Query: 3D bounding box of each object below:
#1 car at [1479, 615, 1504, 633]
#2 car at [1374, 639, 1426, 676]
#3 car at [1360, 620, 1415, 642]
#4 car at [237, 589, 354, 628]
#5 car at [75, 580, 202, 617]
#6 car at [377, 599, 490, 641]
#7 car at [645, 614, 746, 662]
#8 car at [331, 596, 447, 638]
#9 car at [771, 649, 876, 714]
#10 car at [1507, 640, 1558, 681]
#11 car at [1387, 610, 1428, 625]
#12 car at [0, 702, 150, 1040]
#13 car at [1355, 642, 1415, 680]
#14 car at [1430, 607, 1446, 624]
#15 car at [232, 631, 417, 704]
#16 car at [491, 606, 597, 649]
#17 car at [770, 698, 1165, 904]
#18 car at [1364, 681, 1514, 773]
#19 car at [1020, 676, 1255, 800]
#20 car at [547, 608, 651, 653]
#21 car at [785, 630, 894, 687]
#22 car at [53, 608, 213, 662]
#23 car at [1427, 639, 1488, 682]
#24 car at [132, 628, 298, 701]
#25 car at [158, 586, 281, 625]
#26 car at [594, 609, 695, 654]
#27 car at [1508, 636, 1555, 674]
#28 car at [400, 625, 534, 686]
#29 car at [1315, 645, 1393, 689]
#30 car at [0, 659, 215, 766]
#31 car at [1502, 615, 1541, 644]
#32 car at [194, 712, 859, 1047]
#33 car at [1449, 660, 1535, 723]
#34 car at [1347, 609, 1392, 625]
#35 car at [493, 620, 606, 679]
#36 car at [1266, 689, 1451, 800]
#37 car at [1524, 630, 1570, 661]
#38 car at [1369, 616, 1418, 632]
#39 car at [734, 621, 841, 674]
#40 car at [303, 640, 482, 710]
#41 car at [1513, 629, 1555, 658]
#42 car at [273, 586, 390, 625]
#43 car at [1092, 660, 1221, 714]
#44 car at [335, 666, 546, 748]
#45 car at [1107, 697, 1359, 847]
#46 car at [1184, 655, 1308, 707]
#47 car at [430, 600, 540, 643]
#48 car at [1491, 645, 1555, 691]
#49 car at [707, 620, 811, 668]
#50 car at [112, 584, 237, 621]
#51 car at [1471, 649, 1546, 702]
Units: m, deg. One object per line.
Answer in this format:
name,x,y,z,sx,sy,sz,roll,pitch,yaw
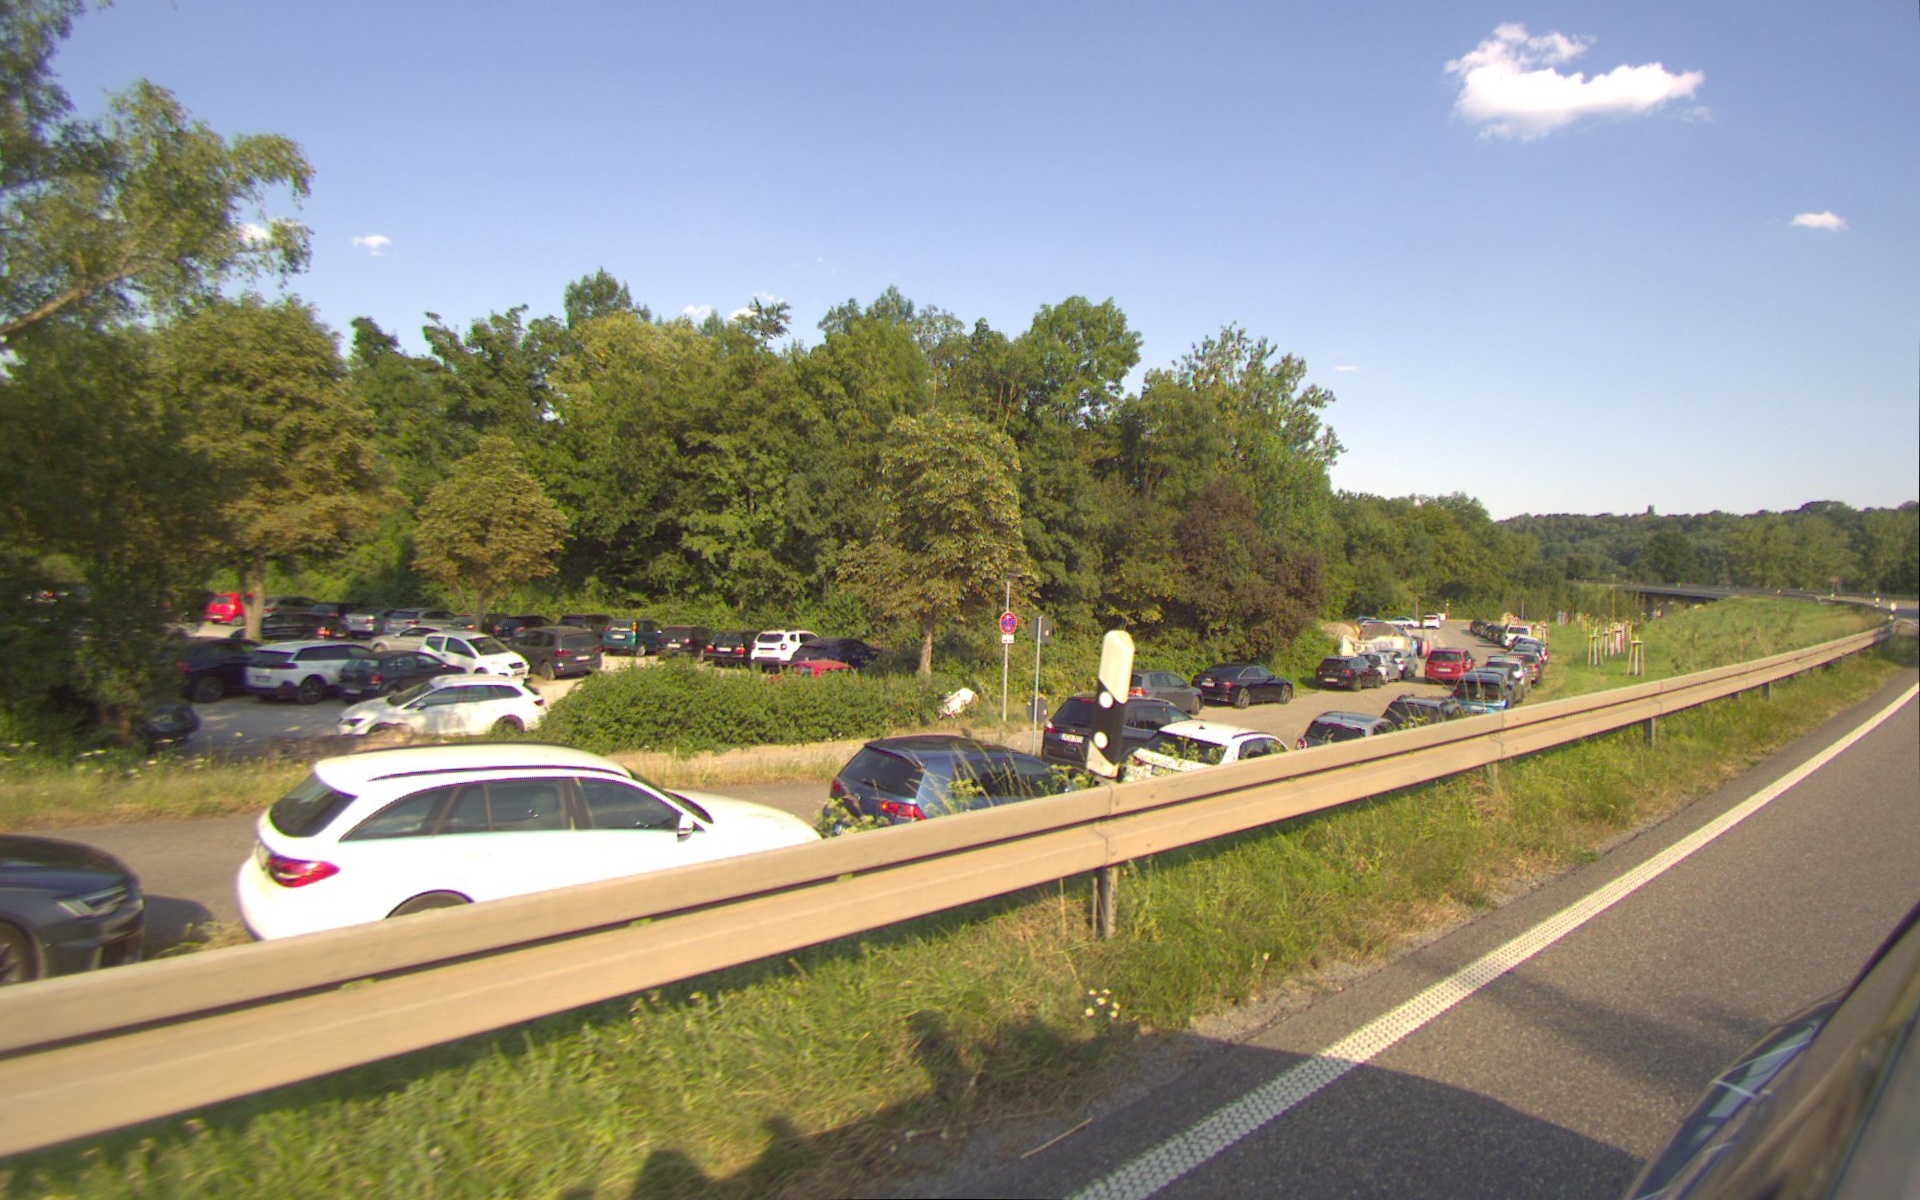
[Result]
car,56.630,2.505,107.879,1.802,1.679,4.228,3,1,20
car,22.425,2.889,51.508,1.696,1.528,3.896,2,2,34
car,35.423,2.545,83.907,4.201,1.624,1.818,0,1,25
car,-31.680,0.362,48.392,1.781,1.712,4.568,1,1,19
car,-39.789,-0.103,49.140,1.781,1.712,4.568,1,1,19
car,-23.527,0.843,45.422,1.781,1.712,4.568,1,1,19
car,-10.841,1.523,41.806,1.781,1.712,4.568,1,1,19
car,-25.871,0.734,46.034,1.781,1.712,4.568,1,1,19
car,-4.249,2.433,31.019,1.623,1.562,3.777,0,1,-35
car,27.107,2.804,48.048,1.880,1.579,4.736,2,1,27
car,51.378,2.048,116.293,4.203,1.474,1.604,3,1,25
car,-7.195,1.544,5.062,4.704,1.578,1.894,2,3,-45
car,20.245,2.871,48.151,1.697,1.415,3.893,5,4,36
car,56.610,1.829,119.950,1.643,1.687,4.669,2,2,25
car,-18.385,1.882,29.576,1.779,1.712,4.573,1,1,16
car,-18.428,1.176,45.090,1.781,1.712,4.568,1,1,19
car,0.267,2.201,12.266,4.701,1.578,1.895,2,3,-43
car,11.642,2.965,24.441,1.892,1.578,4.708,6,3,42
car,3.452,2.449,19.031,4.703,1.695,1.894,2,3,-45
car,-15.612,1.257,44.052,1.781,1.712,4.568,1,1,19
car,-4.308,2.046,36.875,1.785,1.712,4.557,1,1,25
car,-30.403,1.241,37.394,1.774,1.712,4.585,1,1,9
car,23.945,2.856,48.601,1.886,1.708,5.022,3,1,34
car,-21.343,1.784,29.242,1.767,1.712,4.602,1,1,-6
car,-35.164,0.212,48.198,1.781,1.712,4.568,1,1,19
car,-13.527,1.311,43.672,1.781,1.712,4.568,1,1,19
car,30.138,2.857,53.454,1.881,1.578,4.736,5,2,27
car,-15.964,1.754,32.730,4.104,1.692,1.641,1,1,24
car,17.142,2.856,43.891,1.699,1.415,4.716,5,4,39
car,-18.105,2.231,20.522,4.500,1.865,1.807,0,1,-22
car,45.130,2.334,81.405,2.104,2.042,5.334,5,2,24
car,-3.363,1.960,8.434,4.697,1.578,1.897,3,2,-40
car,18.092,3.023,34.322,1.887,1.578,4.721,5,2,35
car,43.111,1.810,106.560,4.192,1.474,1.607,2,1,19
car,-14.384,1.668,35.380,4.125,1.775,1.794,2,1,36
car,8.266,2.832,20.753,1.892,1.578,4.708,6,3,42
car,36.679,2.814,63.359,1.879,1.578,4.742,5,2,24
car,40.913,2.261,95.608,4.192,1.474,1.608,0,1,19
car,-6.535,1.744,38.827,1.785,1.712,4.557,1,1,25
car,-16.168,2.063,29.133,1.779,1.562,4.573,1,1,16
car,38.752,2.877,68.386,1.879,1.578,4.742,5,2,24
car,-29.516,0.214,47.700,1.781,1.712,4.568,1,1,19
car,6.298,2.734,32.212,4.024,1.415,1.707,3,2,-37
car,-12.134,2.429,23.721,4.210,1.504,1.695,1,1,-35
car,4.532,2.602,16.329,1.892,1.578,4.708,6,3,42
car,10.221,2.820,35.971,4.696,1.415,1.707,1,4,-37
car,-21.263,0.906,45.512,1.781,1.712,4.568,1,1,19
car,24.108,2.858,43.278,1.886,1.579,4.721,2,1,35
car,-8.030,1.711,40.872,1.875,1.578,4.750,4,2,20
car,-37.917,0.083,49.011,1.781,1.712,4.568,1,1,19
car,21.088,2.843,38.809,1.887,1.578,4.720,5,2,35
